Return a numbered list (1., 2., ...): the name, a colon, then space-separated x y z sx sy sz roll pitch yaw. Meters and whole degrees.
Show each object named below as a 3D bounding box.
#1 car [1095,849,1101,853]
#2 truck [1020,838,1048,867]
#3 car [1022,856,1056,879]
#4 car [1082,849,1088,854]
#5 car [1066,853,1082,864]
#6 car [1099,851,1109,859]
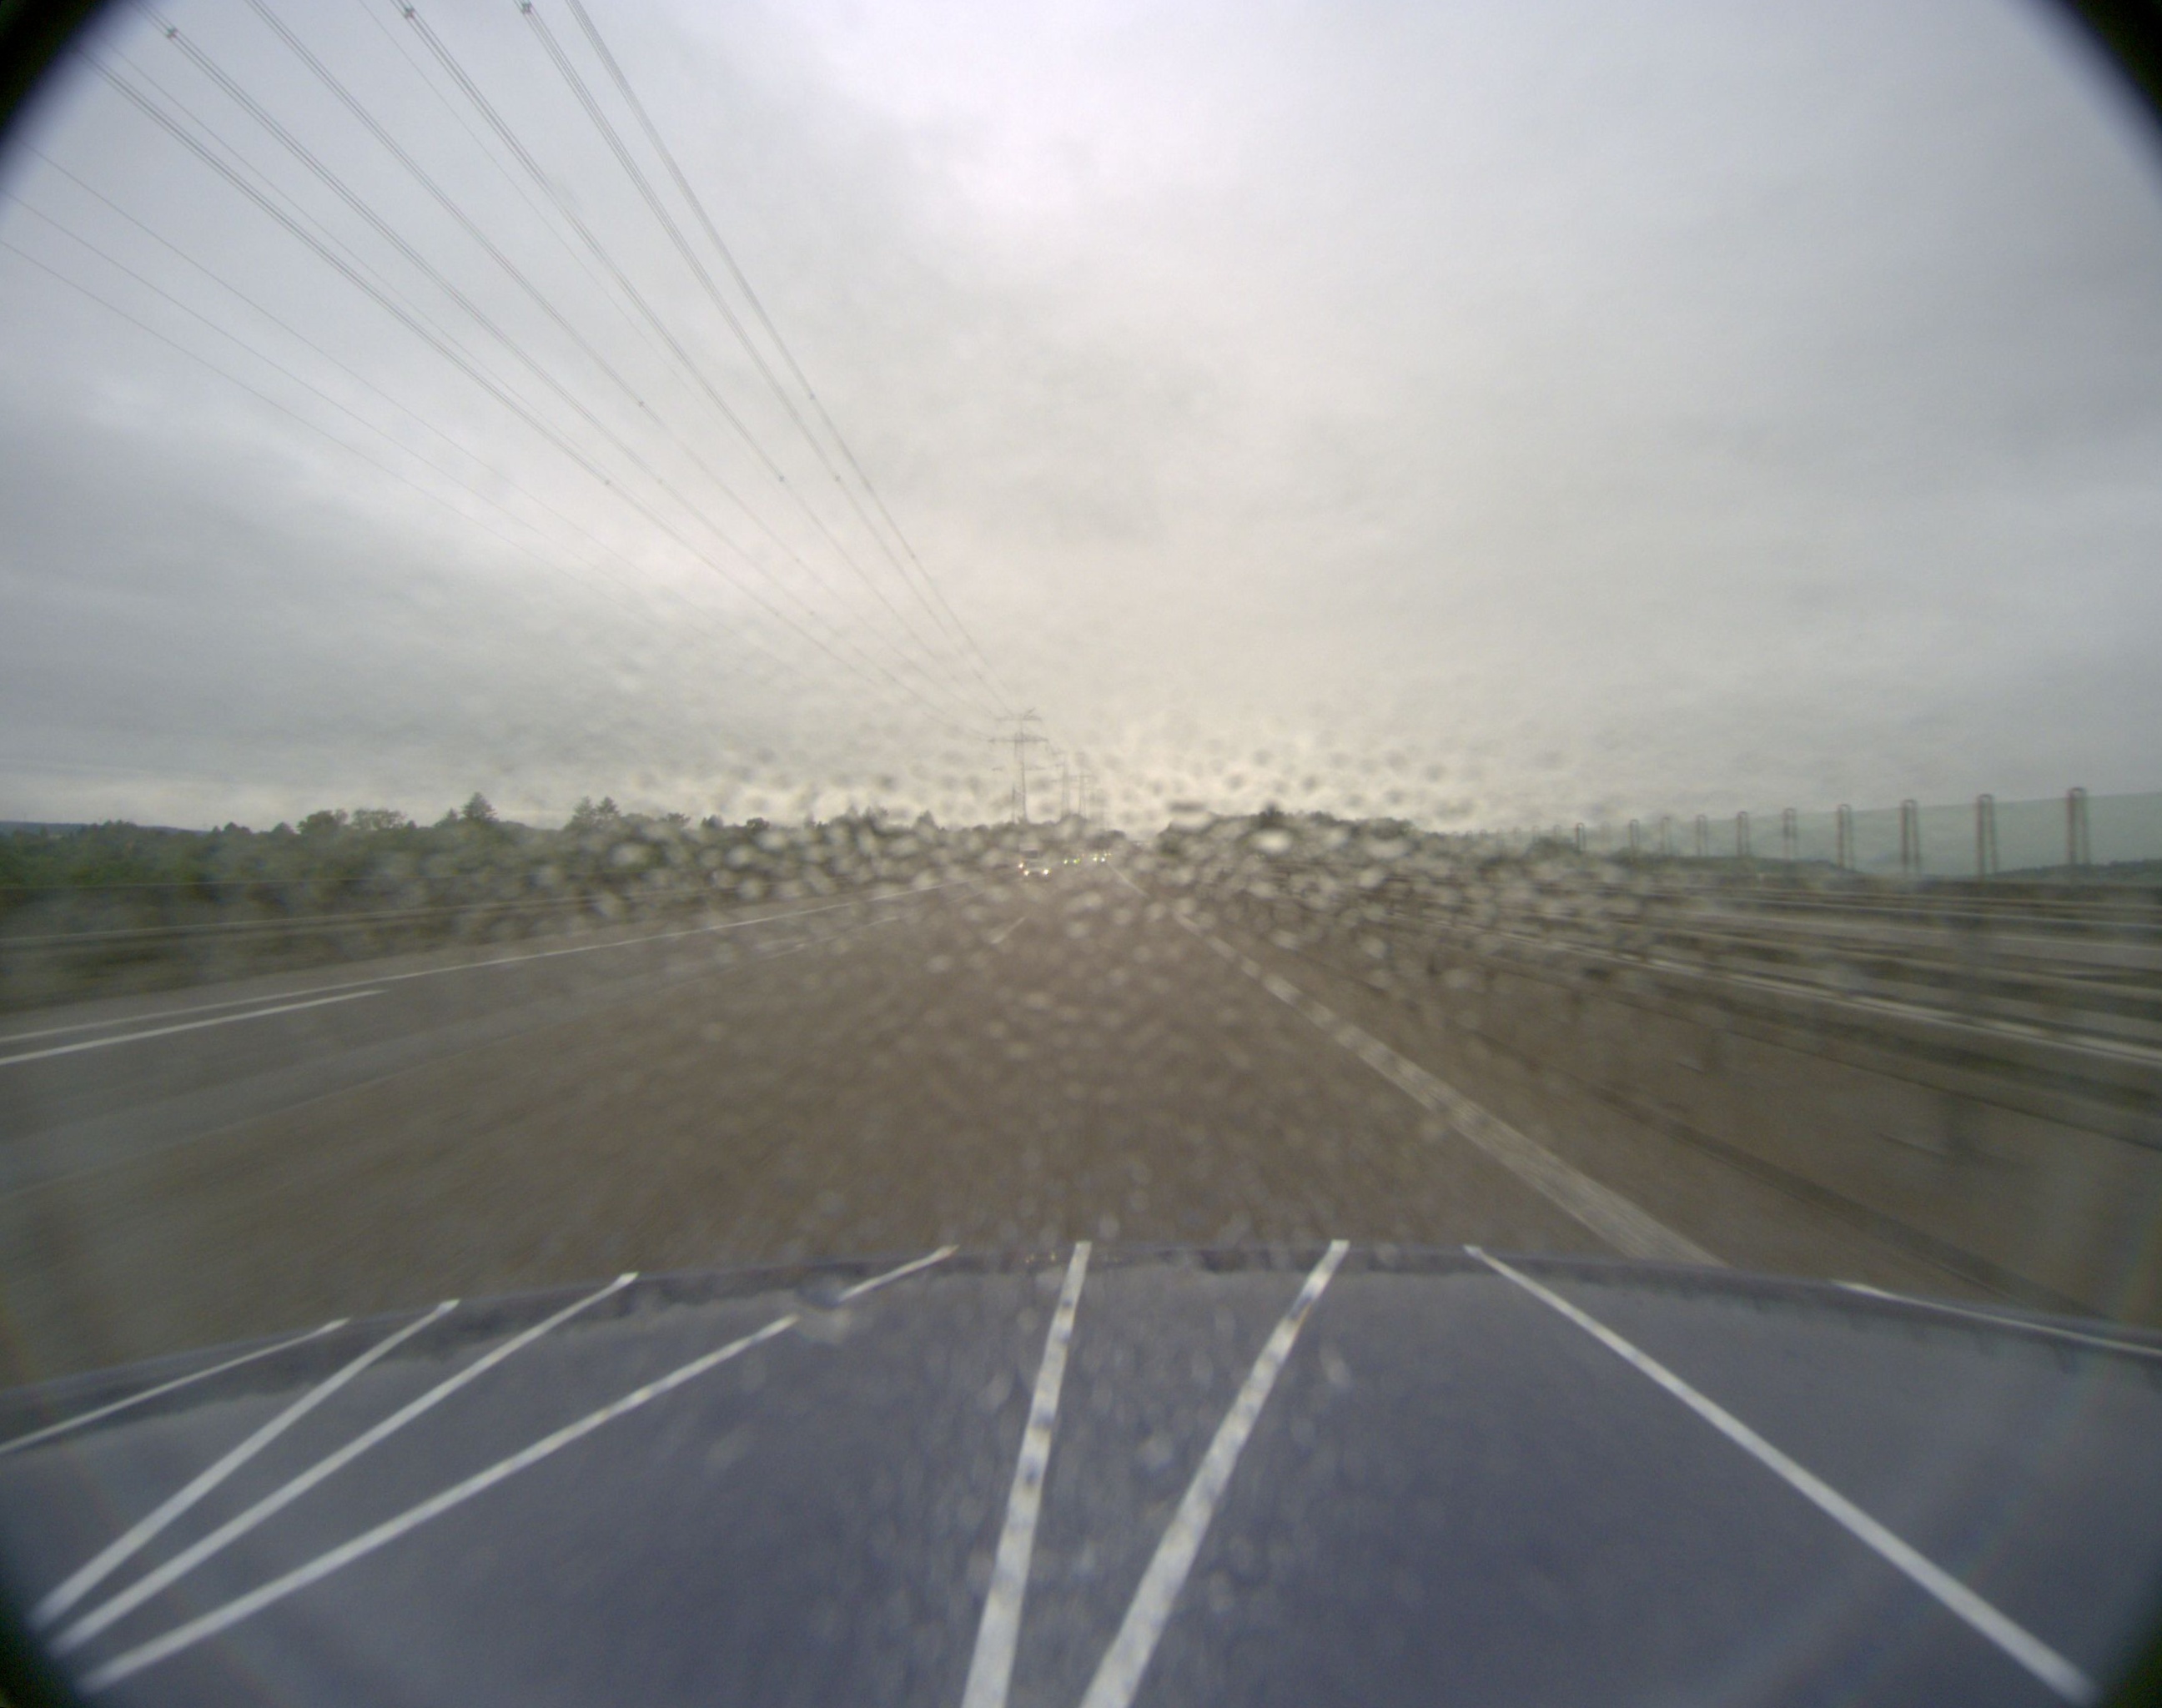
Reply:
1. car: 5.765 -0.928 252.858 1.998 1.418 4.000 -1 0 2
2. truck: -5.614 -0.198 92.140 2.649 3.325 6.931 -1 0 2
3. car: -2.815 0.922 51.900 1.998 1.418 4.000 -1 0 2
4. car: 1.362 -0.831 252.982 1.783 1.482 4.000 -1 0 2
5. car: -0.989 0.592 108.775 1.998 1.418 4.000 -1 0 2
6. car: 4.469 0.116 146.610 1.998 1.418 4.000 -1 0 2
